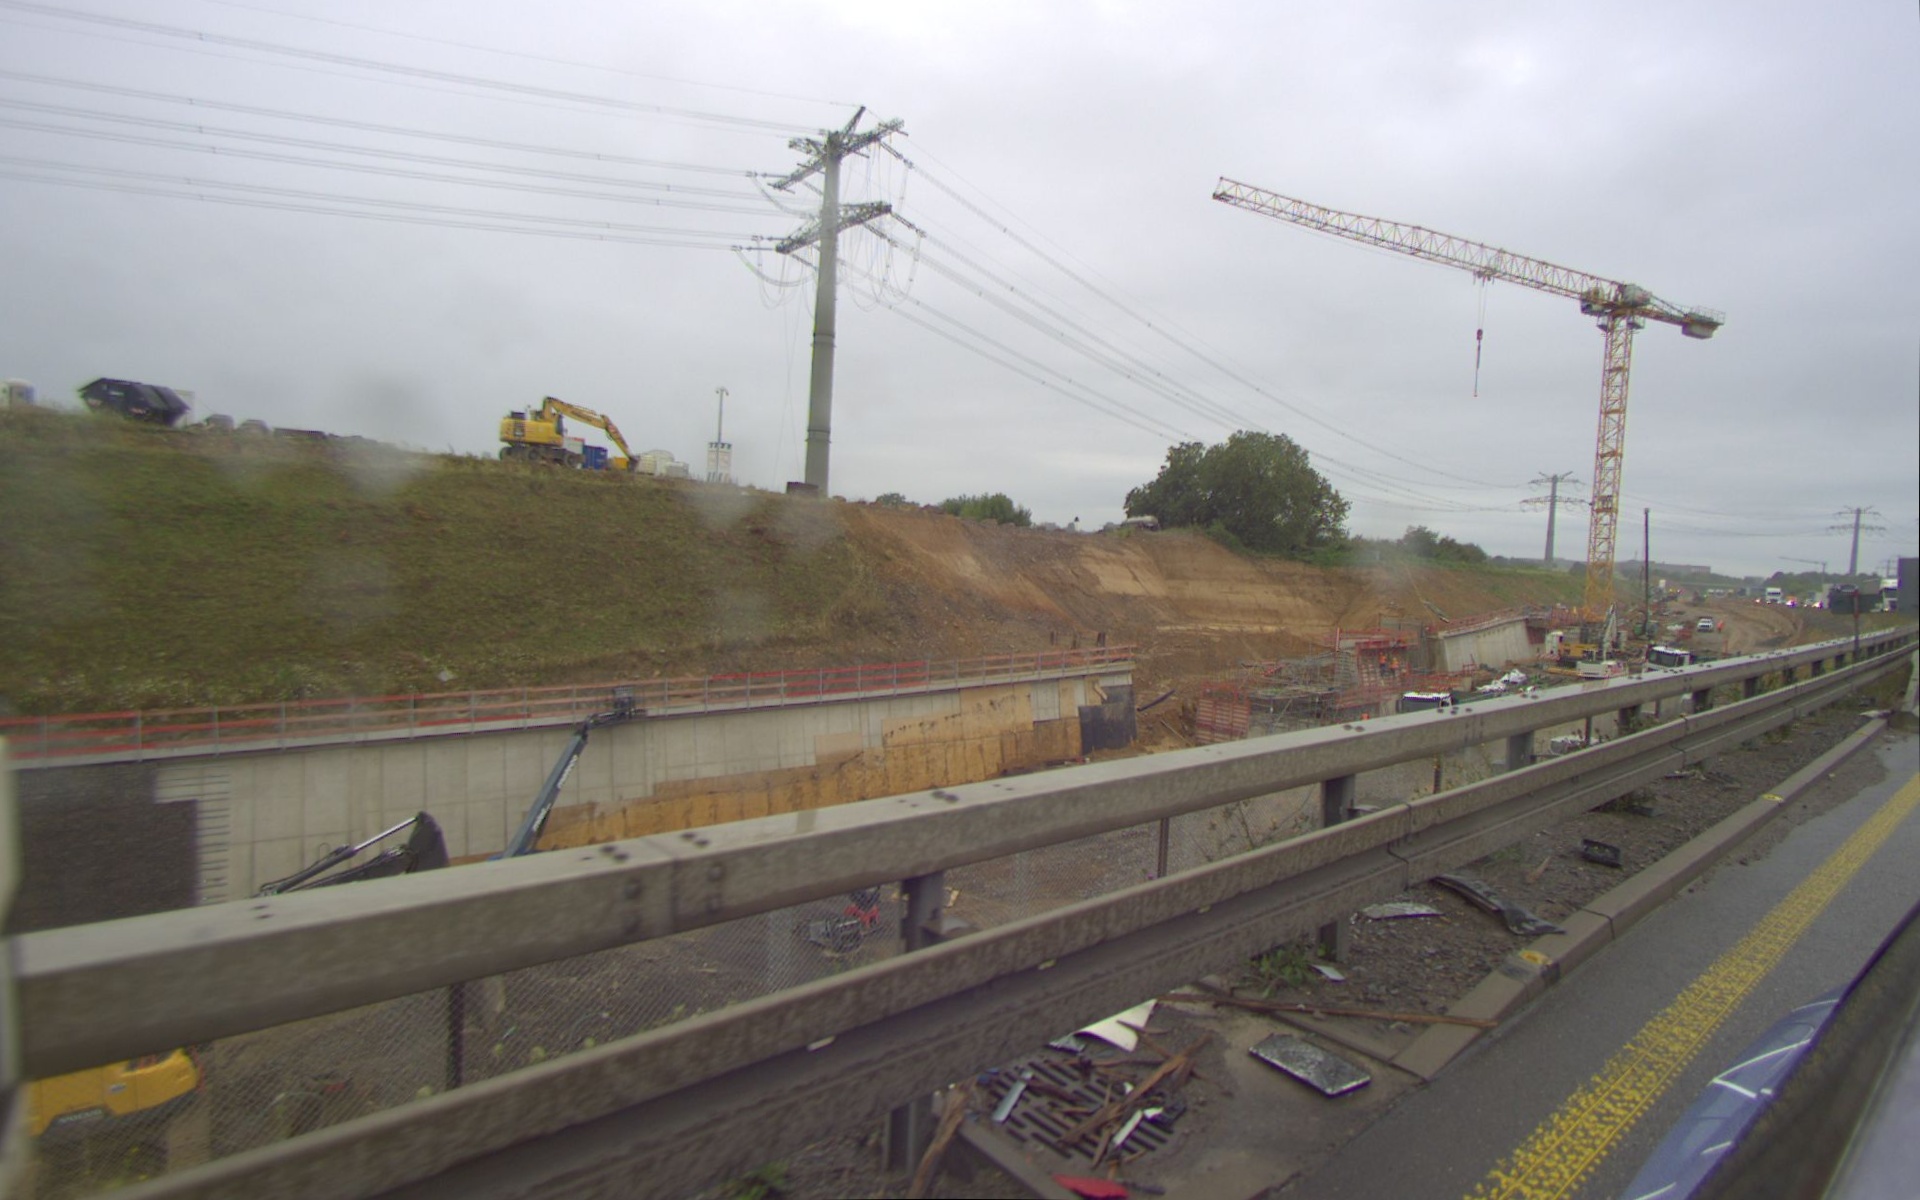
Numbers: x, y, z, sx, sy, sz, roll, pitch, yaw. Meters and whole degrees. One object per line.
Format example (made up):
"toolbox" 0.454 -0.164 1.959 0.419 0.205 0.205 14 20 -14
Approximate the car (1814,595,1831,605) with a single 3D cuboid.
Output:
"car" 130.643 0.015 153.329 1.784 1.445 3.939 0 0 42

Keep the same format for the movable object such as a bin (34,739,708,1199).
"movable object such as a bin" -12.316 7.025 22.599 11.882 5.740 4.902 -4 1 -40

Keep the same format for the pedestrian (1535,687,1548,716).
"pedestrian" 40.194 7.015 69.966 0.602 1.928 0.474 4 3 43

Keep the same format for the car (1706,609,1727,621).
"car" 123.838 2.416 165.654 2.343 1.638 4.787 3 3 42

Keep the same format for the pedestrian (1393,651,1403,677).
"pedestrian" 35.710 5.226 82.505 0.487 2.127 0.474 -6 -3 43

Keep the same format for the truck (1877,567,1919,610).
"truck" 101.621 -1.202 108.509 4.301 4.399 13.214 0 0 40

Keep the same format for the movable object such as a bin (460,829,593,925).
"movable object such as a bin" -13.893 8.786 32.462 2.516 1.935 3.206 -2 0 44

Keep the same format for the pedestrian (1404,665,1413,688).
"pedestrian" 36.732 6.277 82.826 0.488 1.781 0.474 4 3 43

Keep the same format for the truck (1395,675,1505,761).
"truck" 28.476 6.671 58.537 8.924 3.655 2.706 -2 4 -44

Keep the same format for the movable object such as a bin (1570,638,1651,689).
"movable object such as a bin" 52.445 5.017 81.550 6.533 3.466 3.517 -2 2 -38

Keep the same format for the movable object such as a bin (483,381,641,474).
"movable object such as a bin" -23.174 -9.892 59.167 8.031 4.258 3.107 0 2 -39

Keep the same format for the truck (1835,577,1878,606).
"truck" 126.140 -1.242 142.516 3.524 3.942 8.232 0 0 35

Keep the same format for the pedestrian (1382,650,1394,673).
"pedestrian" 34.382 4.956 81.337 0.570 1.827 0.490 -3 -3 -7

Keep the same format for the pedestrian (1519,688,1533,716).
"pedestrian" 38.604 6.976 69.055 0.602 1.790 0.474 6 5 43

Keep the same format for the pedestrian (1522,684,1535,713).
"pedestrian" 39.835 6.883 70.873 0.602 1.928 0.474 4 3 43

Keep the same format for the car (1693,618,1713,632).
"car" 105.625 3.530 143.841 1.854 1.638 4.019 3 3 42

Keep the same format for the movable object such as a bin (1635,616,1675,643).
"movable object such as a bin" 91.047 3.832 132.597 3.495 2.915 3.939 9 7 42

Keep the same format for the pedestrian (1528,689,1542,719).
"pedestrian" 39.415 7.095 69.368 0.601 1.928 0.605 3 3 43
